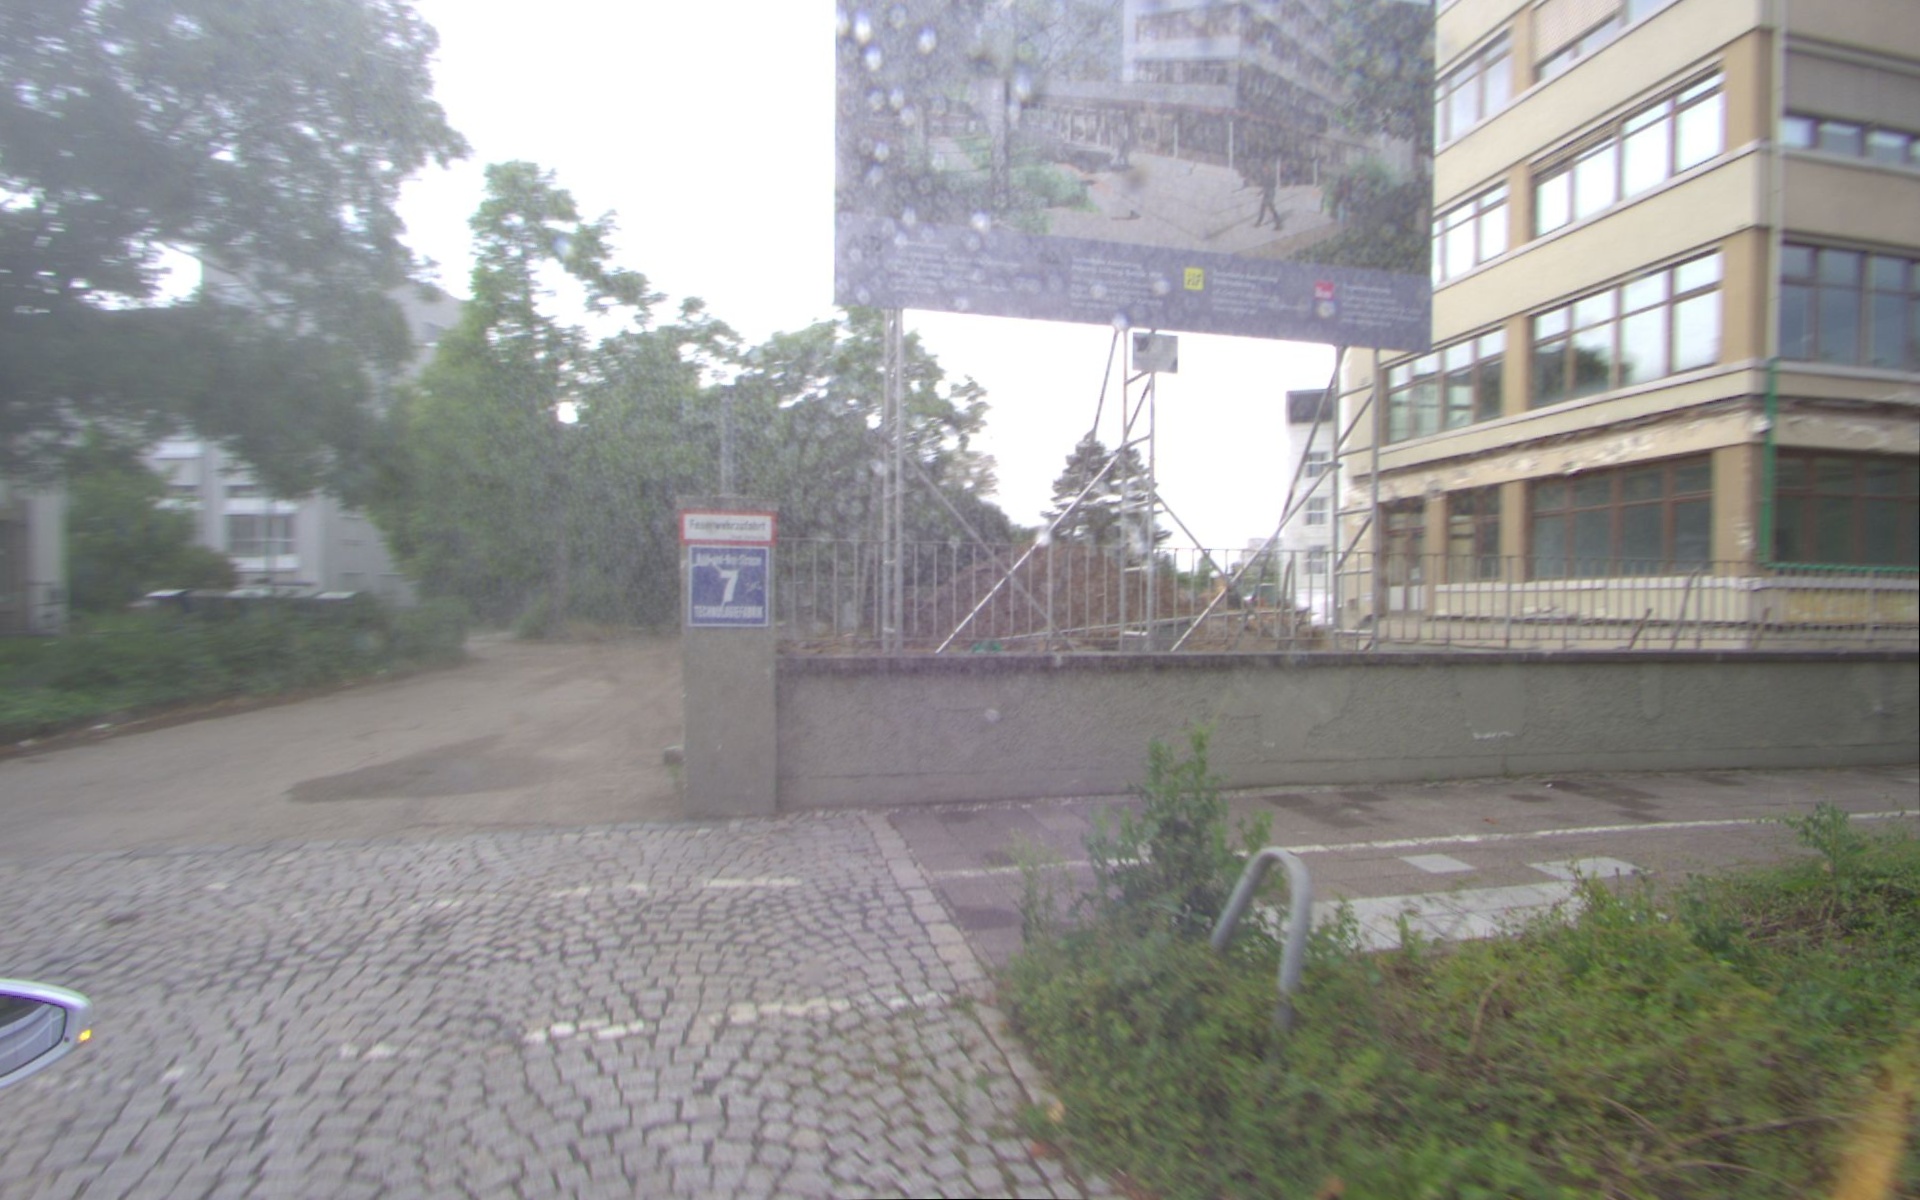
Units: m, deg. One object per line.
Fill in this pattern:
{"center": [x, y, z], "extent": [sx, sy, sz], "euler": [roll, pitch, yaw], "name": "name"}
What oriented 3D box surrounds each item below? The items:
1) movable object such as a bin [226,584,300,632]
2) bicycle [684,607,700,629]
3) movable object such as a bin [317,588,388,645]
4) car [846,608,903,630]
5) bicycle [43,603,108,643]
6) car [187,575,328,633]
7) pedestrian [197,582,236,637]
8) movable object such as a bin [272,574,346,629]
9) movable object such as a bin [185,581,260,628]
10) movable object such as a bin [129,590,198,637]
{"center": [-19.348, 0.227, 27.816], "extent": [1.328, 1.281, 1.055], "euler": [1, 0, 8], "name": "movable object such as a bin"}
{"center": [-11.425, 0.776, 42.678], "extent": [0.412, 0.918, 1.153], "euler": [1, 0, -3], "name": "bicycle"}
{"center": [-16.441, 0.441, 27.109], "extent": [1.331, 1.469, 1.053], "euler": [3, 1, 22], "name": "movable object such as a bin"}
{"center": [-6.086, 1.340, 71.455], "extent": [3.644, 1.520, 1.865], "euler": [1, 0, 17], "name": "car"}
{"center": [-25.099, 0.640, 28.403], "extent": [1.794, 1.079, 0.395], "euler": [1, 0, 12], "name": "bicycle"}
{"center": [-26.267, 0.172, 37.654], "extent": [1.819, 2.040, 4.350], "euler": [0, -1, 10], "name": "car"}
{"center": [-25.184, 0.332, 33.925], "extent": [0.685, 1.832, 0.756], "euler": [-1, 0, 10], "name": "pedestrian"}
{"center": [-17.876, 0.045, 27.515], "extent": [1.328, 1.475, 1.055], "euler": [1, 0, 8], "name": "movable object such as a bin"}
{"center": [-20.789, 0.122, 28.239], "extent": [1.327, 1.281, 1.056], "euler": [1, 0, 5], "name": "movable object such as a bin"}
{"center": [-22.342, 0.375, 28.084], "extent": [1.332, 1.281, 1.052], "euler": [1, 0, 26], "name": "movable object such as a bin"}
